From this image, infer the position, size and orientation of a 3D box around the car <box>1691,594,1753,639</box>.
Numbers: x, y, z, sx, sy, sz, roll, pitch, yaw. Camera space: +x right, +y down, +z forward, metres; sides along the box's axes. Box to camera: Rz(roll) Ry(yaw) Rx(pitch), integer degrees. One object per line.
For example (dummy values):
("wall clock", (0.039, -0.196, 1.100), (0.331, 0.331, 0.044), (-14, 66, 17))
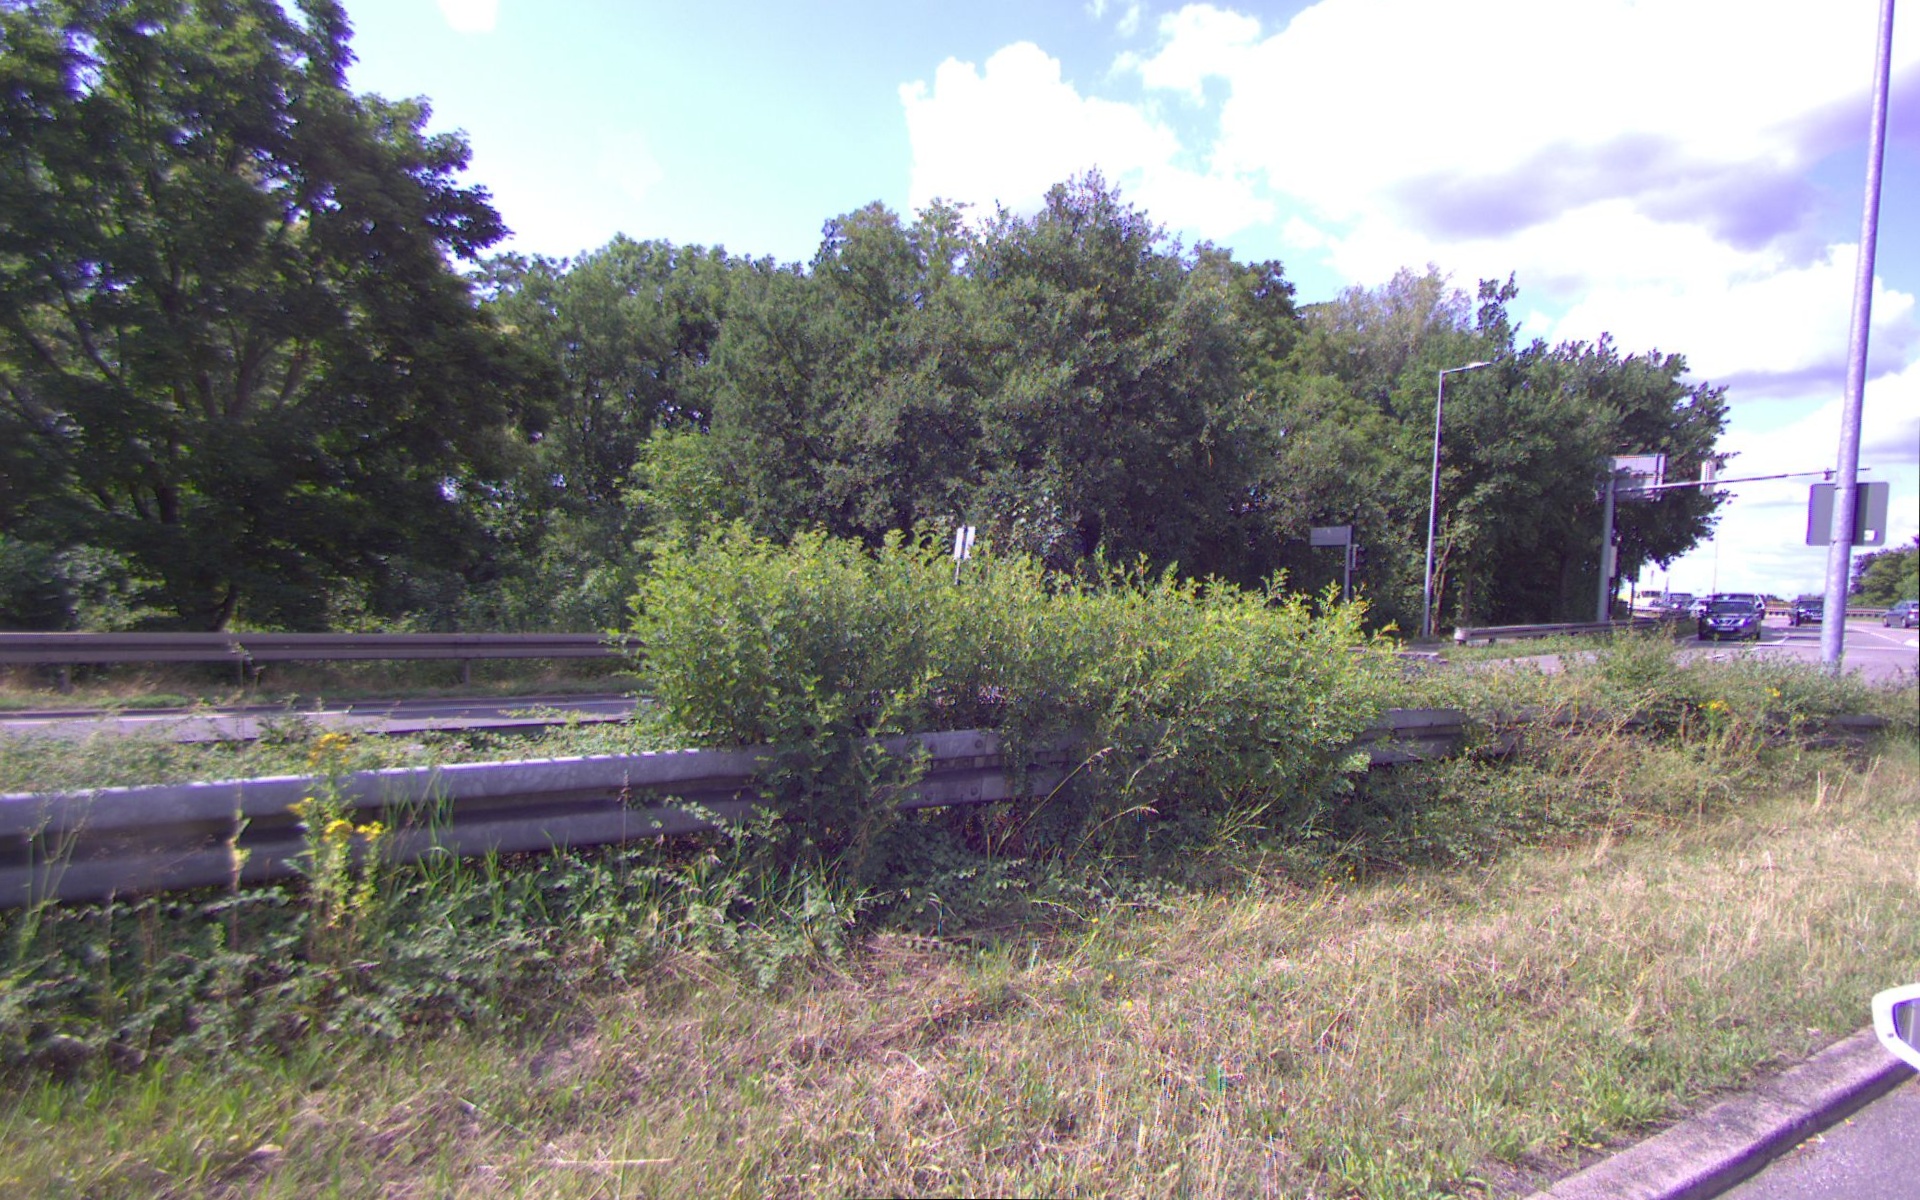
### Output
("car", (30.698, 0.687, 40.414), (1.816, 1.639, 3.982), (2, 0, 39))

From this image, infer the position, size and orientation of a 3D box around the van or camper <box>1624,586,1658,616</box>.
("van or camper", (64.640, 0.066, 95.428), (1.963, 2.719, 6.852), (2, 1, 28))

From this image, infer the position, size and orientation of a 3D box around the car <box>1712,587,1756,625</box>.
("car", (44.862, 0.339, 58.263), (1.819, 2.128, 4.311), (2, 1, 36))

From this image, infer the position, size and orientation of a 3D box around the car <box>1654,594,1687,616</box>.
("car", (58.031, 0.407, 82.080), (1.817, 1.728, 4.316), (2, 1, 32))

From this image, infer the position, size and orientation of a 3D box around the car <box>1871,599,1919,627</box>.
("car", (53.770, 0.710, 56.893), (1.962, 1.516, 4.116), (2, 1, 25))

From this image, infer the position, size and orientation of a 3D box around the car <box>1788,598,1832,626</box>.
("car", (49.550, 0.689, 58.608), (1.709, 1.516, 4.031), (2, 1, 37))

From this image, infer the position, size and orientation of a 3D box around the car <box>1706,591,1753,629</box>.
("car", (39.956, 0.489, 52.129), (1.820, 1.826, 4.307), (2, 1, 39))

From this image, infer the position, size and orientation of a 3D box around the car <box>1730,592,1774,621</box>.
("car", (59.265, 0.497, 75.249), (1.965, 2.041, 4.459), (2, 1, 31))
